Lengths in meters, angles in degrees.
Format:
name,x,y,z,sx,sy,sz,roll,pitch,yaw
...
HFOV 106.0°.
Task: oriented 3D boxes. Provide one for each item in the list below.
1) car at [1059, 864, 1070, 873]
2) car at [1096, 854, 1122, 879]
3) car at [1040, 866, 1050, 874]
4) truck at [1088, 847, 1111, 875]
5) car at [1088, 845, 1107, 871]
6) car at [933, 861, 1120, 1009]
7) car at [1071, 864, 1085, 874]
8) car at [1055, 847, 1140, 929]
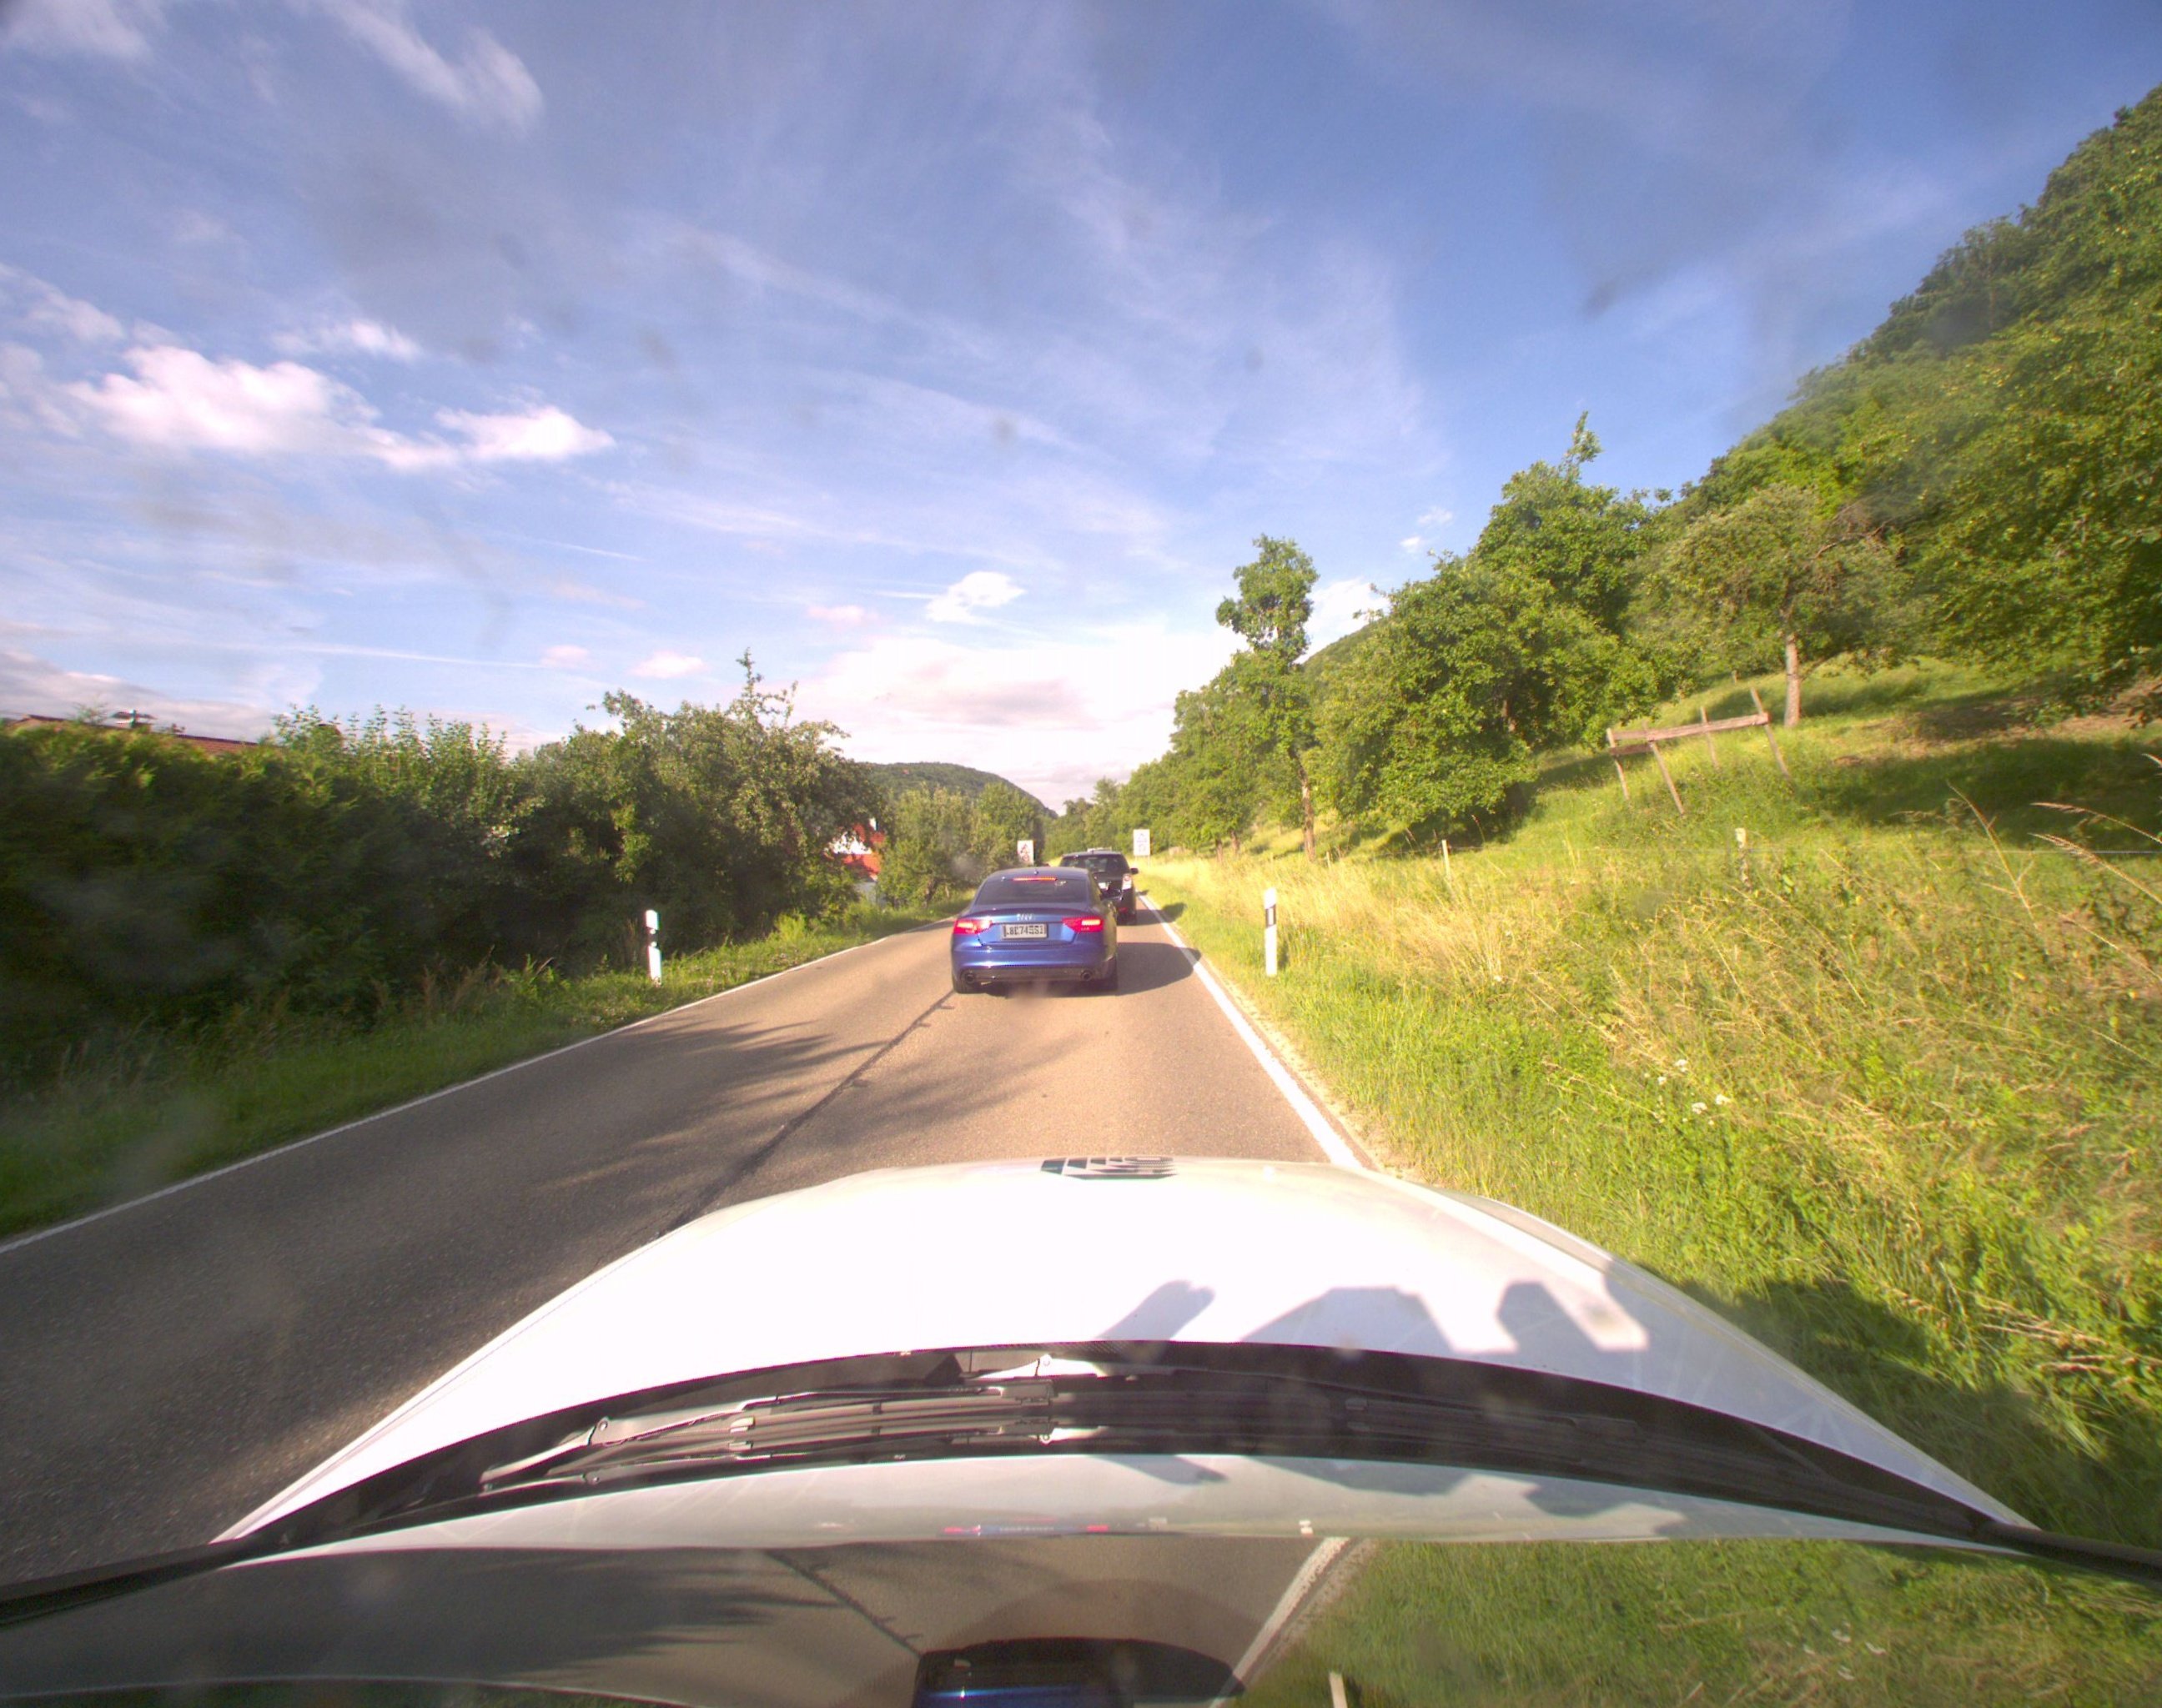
name,x,y,z,sx,sy,sz,roll,pitch,yaw
car,-2.864,2.491,140.515,1.557,1.496,3.769,0,0,-7
car,1.935,0.843,55.886,1.686,1.624,3.790,-1,0,2
car,-7.436,3.217,167.080,1.559,1.496,3.764,0,0,-10
truck,1.605,0.609,70.744,1.943,2.345,5.095,0,0,1
car,1.606,0.412,80.579,1.787,2.453,3.917,0,0,-1
car,-0.450,0.815,10.072,1.799,1.382,4.217,-1,0,2
car,-0.501,2.230,125.519,1.745,1.496,3.770,0,0,-6
car,0.388,0.691,18.382,1.686,1.624,3.790,-1,0,2
